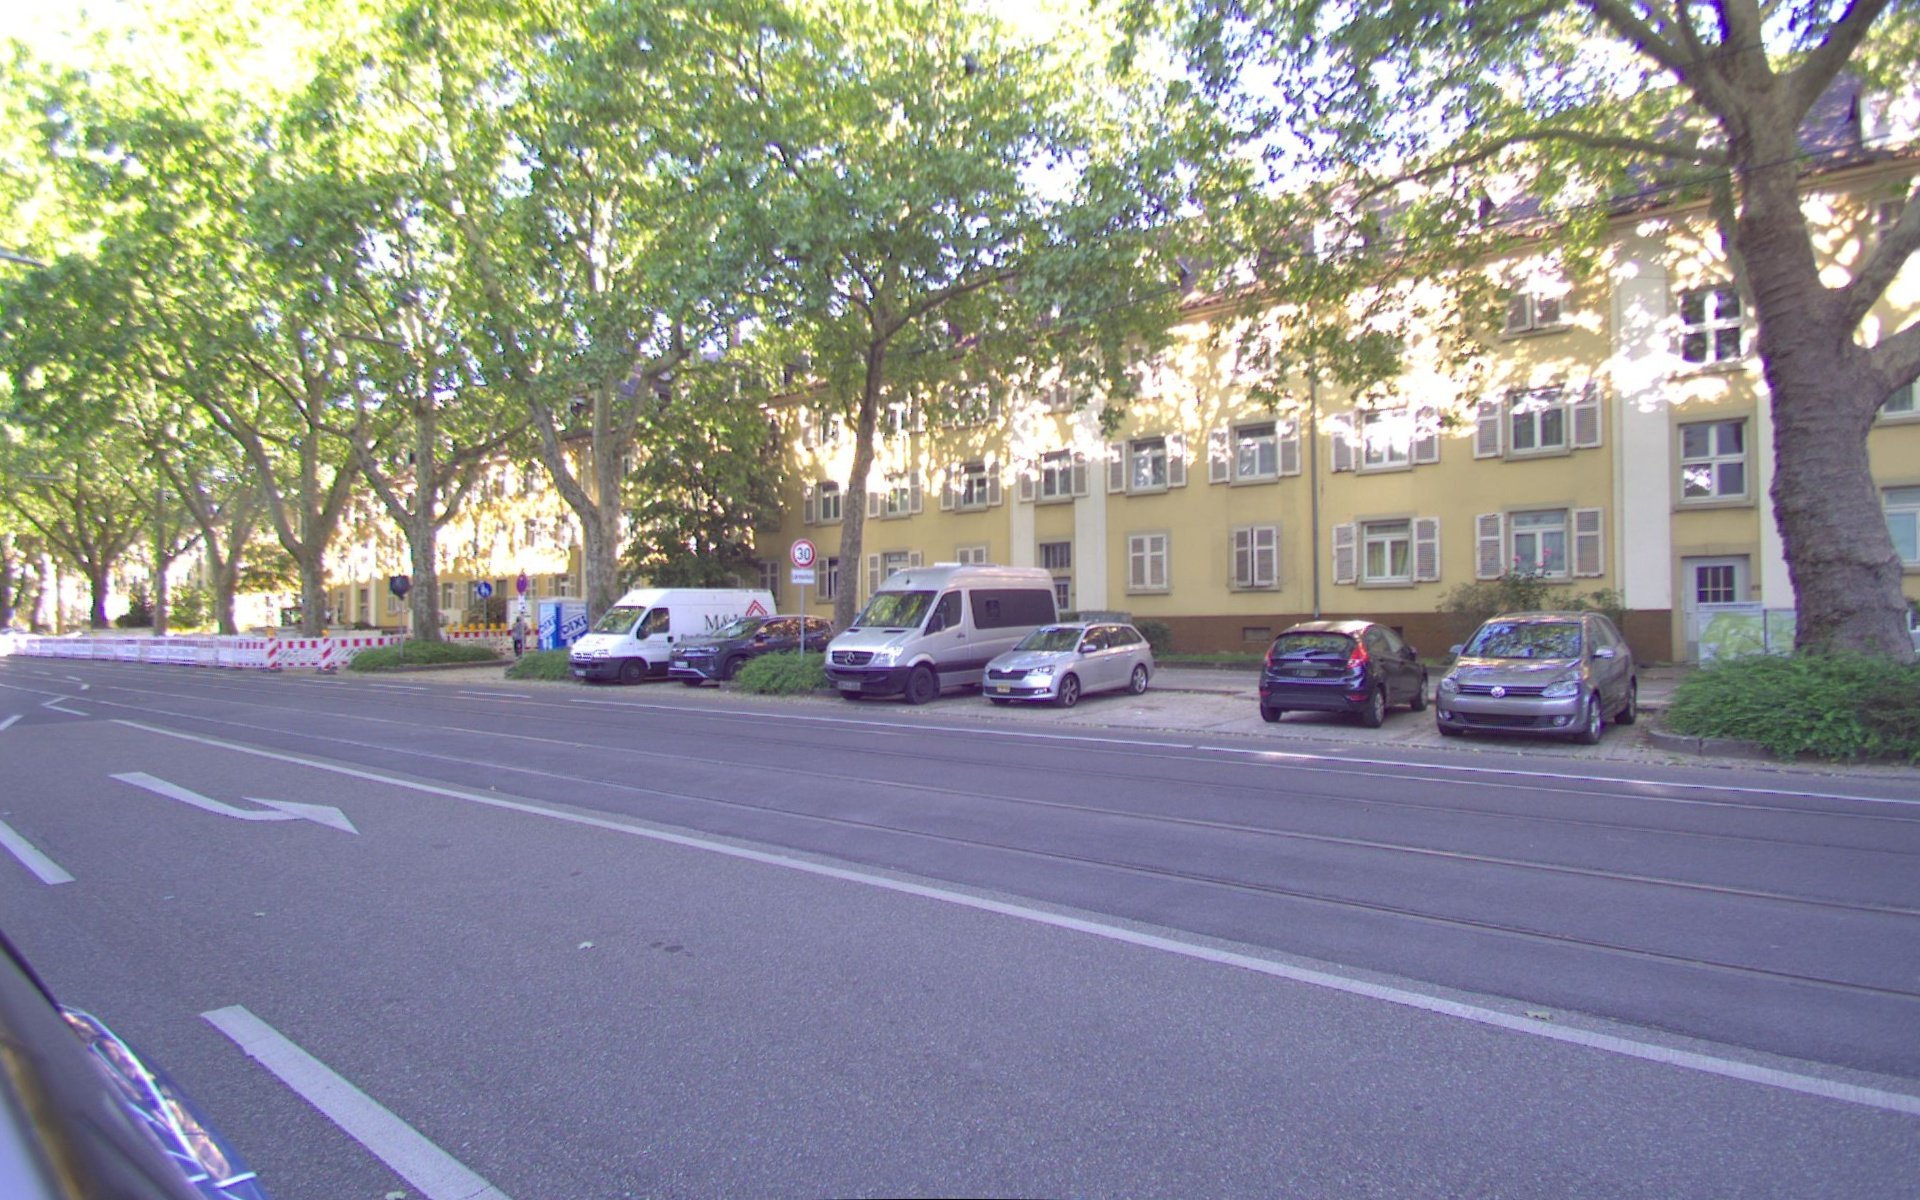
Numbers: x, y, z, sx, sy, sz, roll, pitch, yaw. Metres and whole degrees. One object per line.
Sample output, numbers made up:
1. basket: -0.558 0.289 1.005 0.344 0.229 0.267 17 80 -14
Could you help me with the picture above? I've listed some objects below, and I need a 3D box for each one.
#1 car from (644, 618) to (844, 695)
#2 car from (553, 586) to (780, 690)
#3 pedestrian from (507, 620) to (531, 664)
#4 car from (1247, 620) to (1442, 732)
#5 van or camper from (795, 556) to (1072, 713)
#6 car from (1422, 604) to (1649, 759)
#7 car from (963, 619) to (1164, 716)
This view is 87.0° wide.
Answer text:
1. car: -5.090 1.278 24.365 1.967 1.643 4.520 -2 -2 38
2. car: -7.444 0.952 26.284 2.023 2.394 5.543 -2 -2 38
3. pedestrian: -16.237 1.543 37.259 0.587 1.585 0.718 1 -2 -42
4. car: 5.907 1.051 15.326 1.740 1.440 3.528 -2 -1 39
5. van or camper: -0.316 0.616 20.488 2.227 2.697 6.052 -2 -1 38
6. car: 7.737 0.930 13.413 1.814 1.617 4.145 -2 0 41
7. car: 2.037 1.161 18.904 1.729 1.481 4.102 0 1 40
